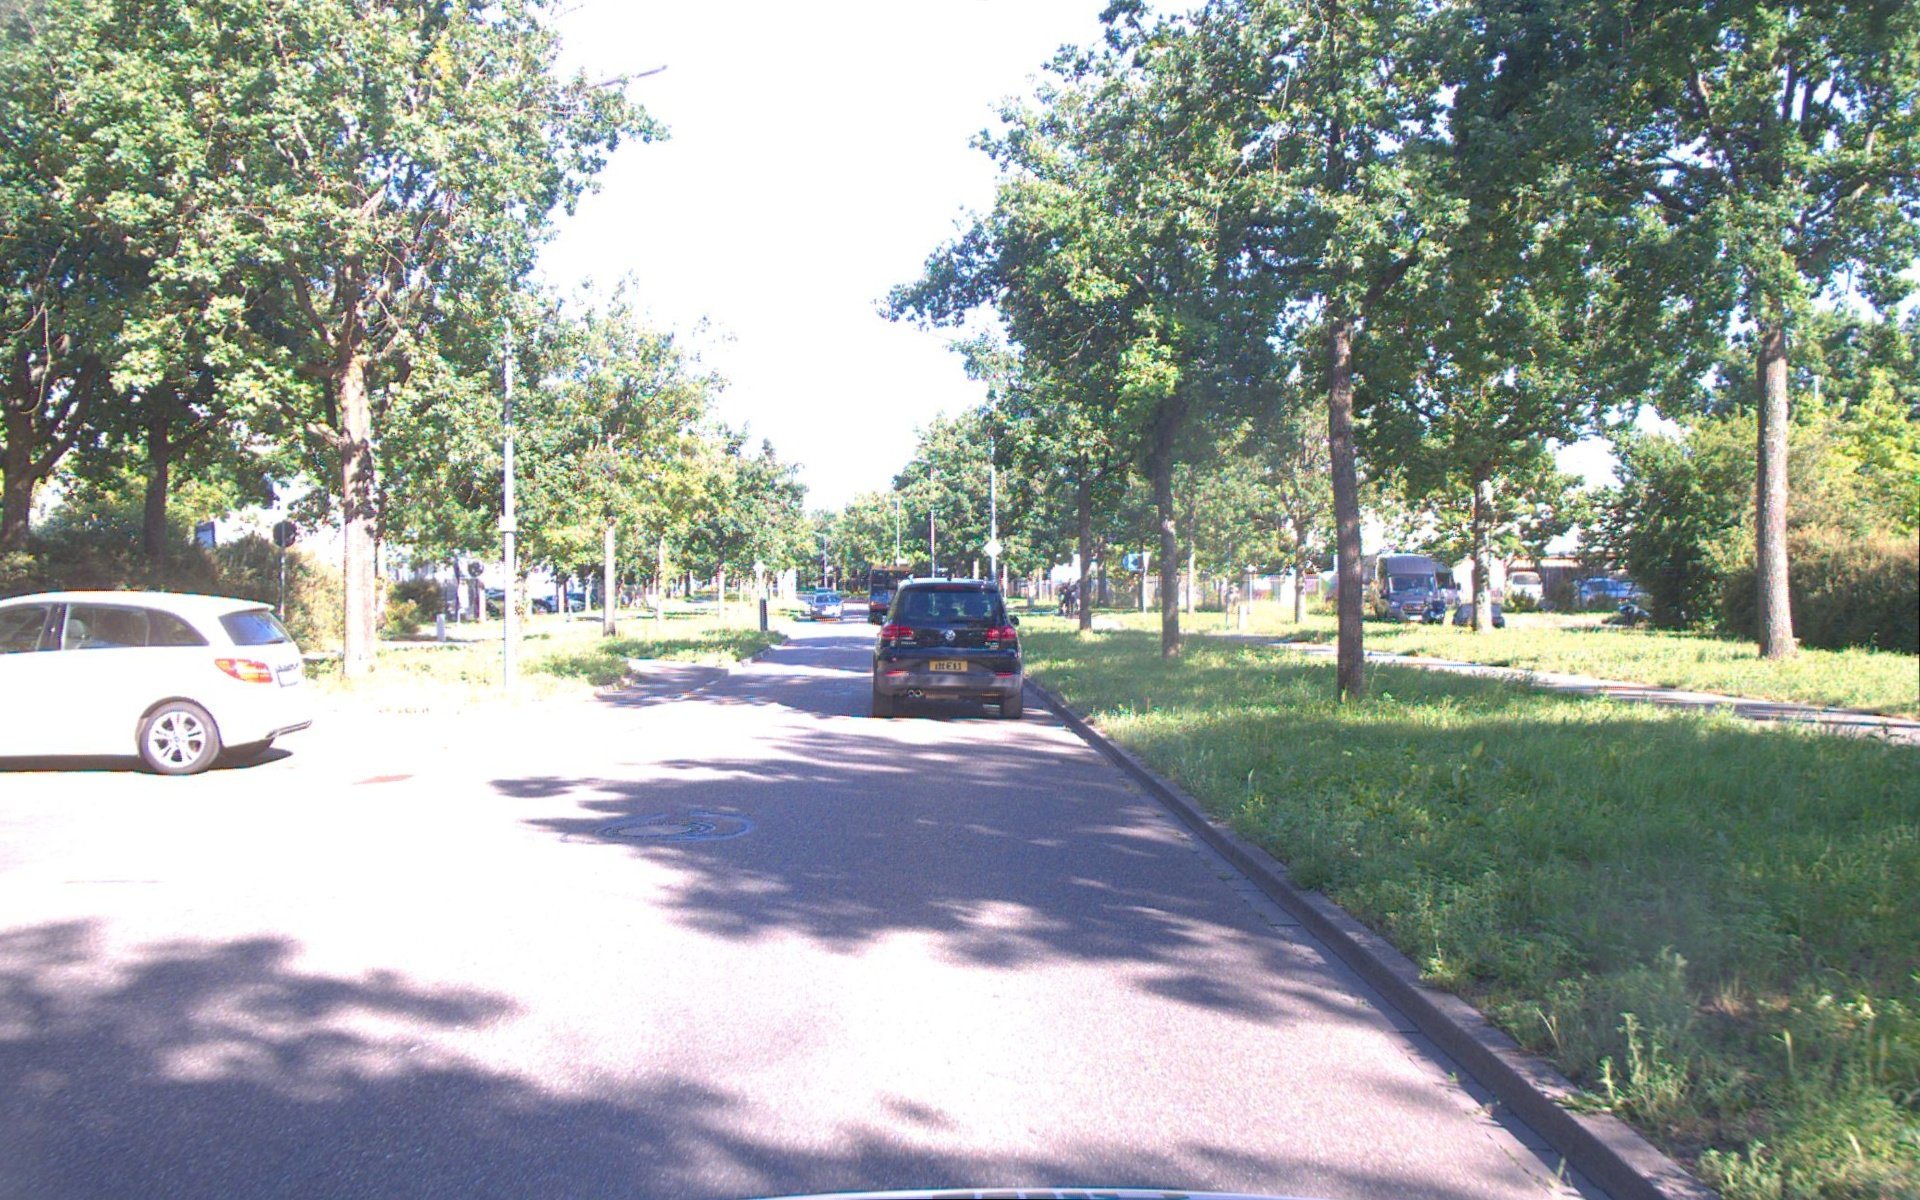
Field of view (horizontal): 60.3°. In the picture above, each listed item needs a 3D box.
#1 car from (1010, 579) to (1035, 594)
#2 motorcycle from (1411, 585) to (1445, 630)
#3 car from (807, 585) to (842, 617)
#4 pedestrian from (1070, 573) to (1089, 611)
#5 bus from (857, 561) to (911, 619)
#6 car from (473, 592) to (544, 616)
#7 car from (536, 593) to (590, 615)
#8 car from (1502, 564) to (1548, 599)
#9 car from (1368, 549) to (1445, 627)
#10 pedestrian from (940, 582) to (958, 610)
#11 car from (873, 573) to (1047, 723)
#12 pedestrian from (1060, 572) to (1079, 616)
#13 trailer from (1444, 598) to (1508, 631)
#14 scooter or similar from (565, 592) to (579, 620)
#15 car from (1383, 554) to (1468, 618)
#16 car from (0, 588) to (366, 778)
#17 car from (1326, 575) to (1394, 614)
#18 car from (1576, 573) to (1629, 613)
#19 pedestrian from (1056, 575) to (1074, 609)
[{"bbox_3d":[7.486,-1.613,199.305,2.144,1.774,4.632,-1,1,-9],"label":"car"},{"bbox_3d":[14.692,0.248,51.970,0.648,1.253,2.407,-1,-4,8],"label":"motorcycle"},{"bbox_3d":[-7.069,0.029,86.702,1.730,1.555,4.492,-2,1,-4],"label":"car"},{"bbox_3d":[5.800,-0.400,80.401,0.711,1.785,0.867,-3,0,-4],"label":"pedestrian"},{"bbox_3d":[-5.027,-0.677,107.566,2.712,3.517,11.194,-1,1,-7],"label":"bus"},{"bbox_3d":[-28.461,0.233,104.349,1.966,1.426,3.926,0,1,44],"label":"car"},{"bbox_3d":[-31.251,0.339,130.170,3.662,1.646,1.965,-1,0,11],"label":"car"},{"bbox_3d":[27.962,-0.924,81.916,1.796,1.668,4.003,-1,0,14],"label":"car"},{"bbox_3d":[16.782,-0.525,62.395,2.040,2.610,5.979,1,3,8],"label":"car"},{"bbox_3d":[-0.691,-0.251,101.841,0.999,1.680,1.099,-1,0,-4],"label":"pedestrian"},{"bbox_3d":[-0.110,0.512,20.981,1.898,1.685,4.424,1,1,-4],"label":"car"},{"bbox_3d":[4.676,-0.266,70.702,0.711,1.843,0.867,-1,3,-4],"label":"pedestrian"},{"bbox_3d":[15.597,0.446,50.079,1.545,0.883,2.055,-1,-4,8],"label":"trailer"},{"bbox_3d":[-18.669,0.294,79.586,0.387,1.301,1.440,-1,0,-3],"label":"scooter or similar"},{"bbox_3d":[20.375,-0.604,72.591,2.117,2.689,4.847,-1,1,-3],"label":"car"},{"bbox_3d":[-8.078,0.704,15.131,4.536,1.585,2.189,1,1,-6],"label":"car"},{"bbox_3d":[17.765,-0.256,73.681,1.966,1.693,3.594,-1,1,-4],"label":"car"},{"bbox_3d":[27.691,-0.317,71.390,1.796,1.668,4.003,-1,1,17],"label":"car"},{"bbox_3d":[5.037,-0.388,79.554,0.711,1.631,0.867,-1,0,-4],"label":"pedestrian"}]
